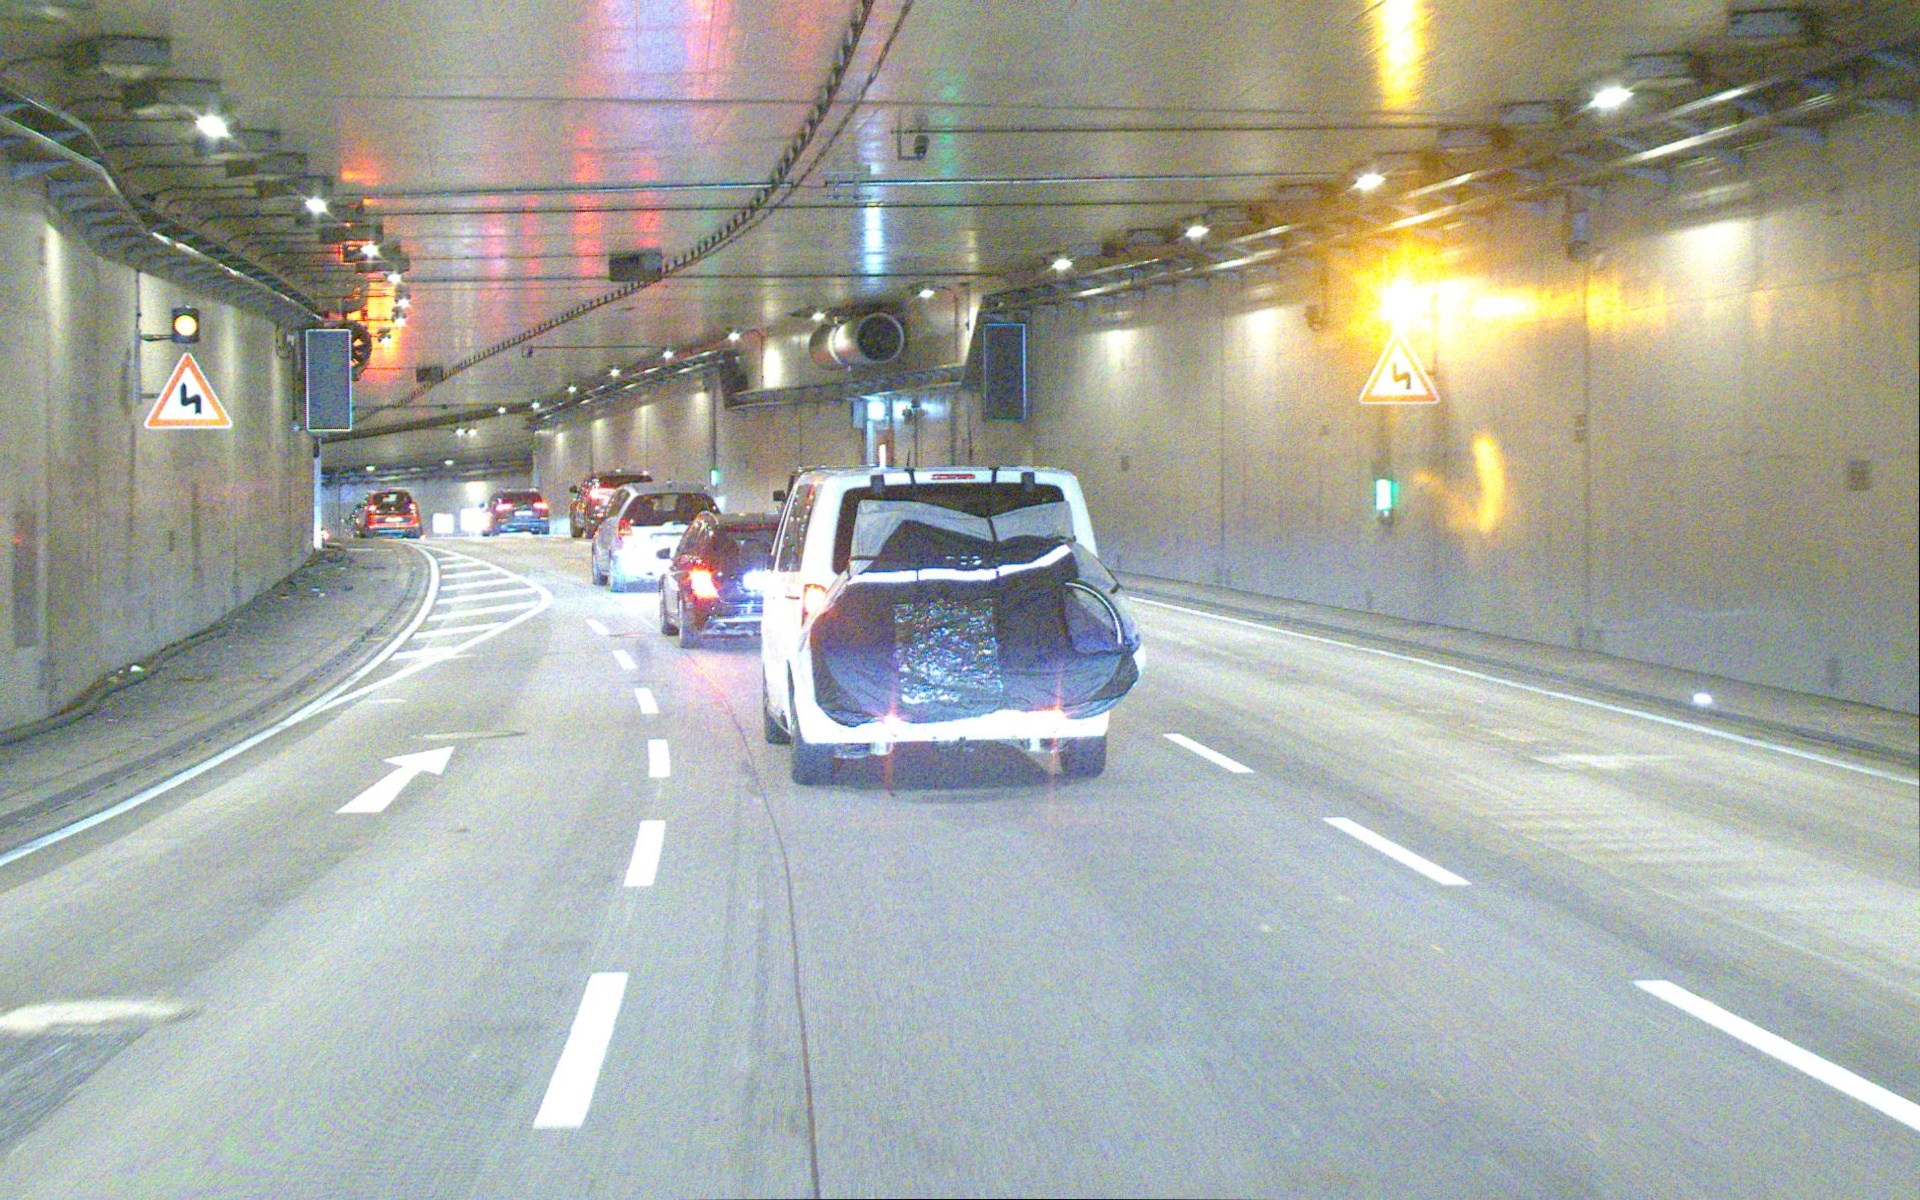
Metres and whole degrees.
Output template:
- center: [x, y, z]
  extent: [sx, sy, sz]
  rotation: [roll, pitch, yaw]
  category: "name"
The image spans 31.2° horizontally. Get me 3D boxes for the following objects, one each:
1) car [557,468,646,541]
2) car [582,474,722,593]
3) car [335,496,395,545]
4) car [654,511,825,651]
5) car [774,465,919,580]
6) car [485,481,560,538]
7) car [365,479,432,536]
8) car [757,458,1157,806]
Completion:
- center: [-8.484, -2.243, 81.280]
  extent: [1.602, 1.625, 3.356]
  rotation: [1, 0, -14]
  category: "car"
- center: [-4.560, -0.990, 50.629]
  extent: [1.602, 1.588, 3.357]
  rotation: [3, 1, -11]
  category: "car"
- center: [-21.170, -2.810, 122.299]
  extent: [1.822, 1.625, 3.844]
  rotation: [1, 0, -14]
  category: "car"
- center: [-2.390, -0.234, 36.668]
  extent: [1.602, 1.390, 3.278]
  rotation: [0, 2, -7]
  category: "car"
- center: [-1.911, -1.243, 56.720]
  extent: [1.872, 1.755, 4.001]
  rotation: [1, 0, -9]
  category: "car"
- center: [-13.361, -2.757, 104.845]
  extent: [1.822, 1.625, 3.844]
  rotation: [1, 0, -14]
  category: "car"
- center: [-17.183, -2.818, 105.117]
  extent: [1.822, 1.625, 3.844]
  rotation: [1, 0, -12]
  category: "car"
- center: [-0.166, 0.103, 21.209]
  extent: [1.993, 1.841, 5.302]
  rotation: [-1, 1, -5]
  category: "car"
